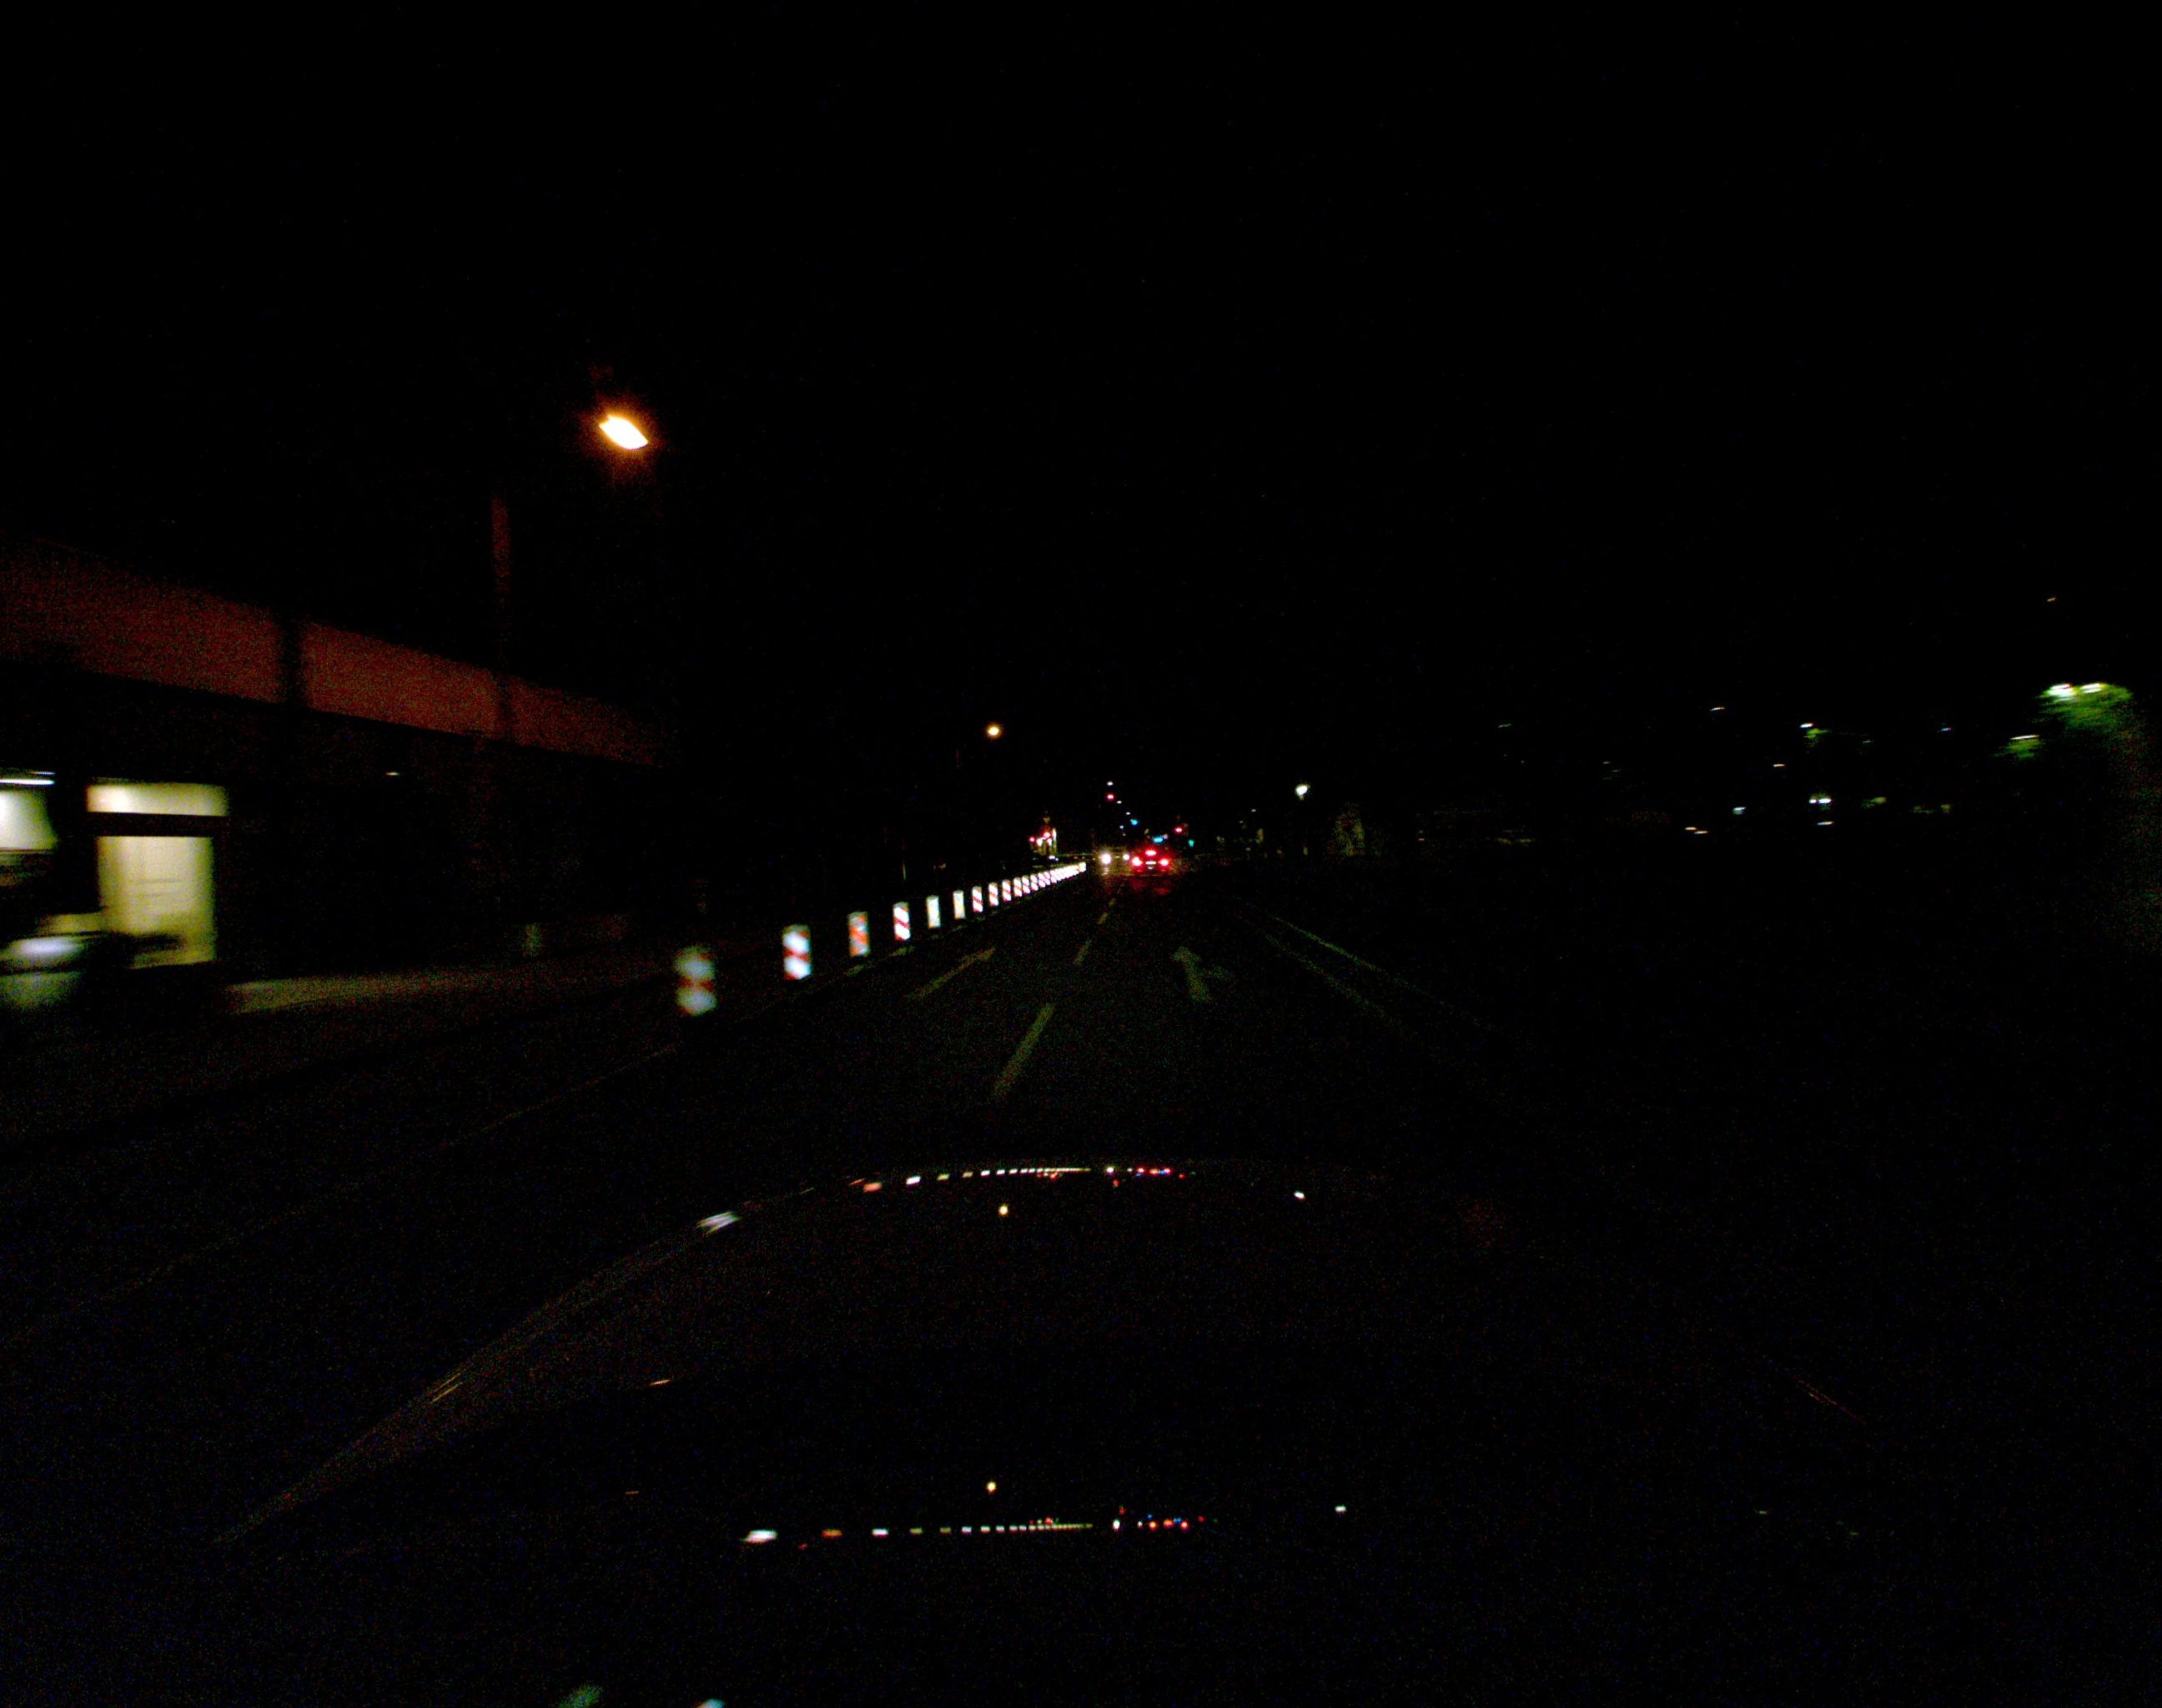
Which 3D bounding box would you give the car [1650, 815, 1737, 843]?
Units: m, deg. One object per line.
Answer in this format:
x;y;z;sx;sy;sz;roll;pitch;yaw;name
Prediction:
35.394;-1.428;47.211;1.985;1.428;4.245;-3;0;3;car

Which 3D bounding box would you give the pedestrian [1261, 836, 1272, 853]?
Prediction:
20.839;-1.060;91.519;0.897;1.769;0.908;-3;0;4;pedestrian

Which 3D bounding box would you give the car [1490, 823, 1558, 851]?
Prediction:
25.971;-0.971;47.882;1.776;1.533;3.999;-3;0;0;car

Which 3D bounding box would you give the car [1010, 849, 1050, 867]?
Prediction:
-5.243;0.386;83.060;3.980;1.640;1.997;-2;0;-5;car

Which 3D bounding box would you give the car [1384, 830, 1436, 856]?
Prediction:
19.751;-0.659;49.107;1.506;1.395;4.486;-3;0;4;car

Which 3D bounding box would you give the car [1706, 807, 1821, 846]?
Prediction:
29.704;-1.151;35.641;1.760;1.533;4.103;-3;0;4;car

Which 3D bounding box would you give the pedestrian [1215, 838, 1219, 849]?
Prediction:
25.243;-1.916;151.097;0.485;2.013;0.551;-3;0;3;pedestrian

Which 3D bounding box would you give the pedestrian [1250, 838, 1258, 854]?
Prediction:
19.452;-0.866;91.566;0.735;1.769;0.908;-3;0;4;pedestrian

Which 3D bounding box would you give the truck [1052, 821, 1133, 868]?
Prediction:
0.903;-0.782;74.725;2.771;3.717;10.020;-4;0;-28;truck

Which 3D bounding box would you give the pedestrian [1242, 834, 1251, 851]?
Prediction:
18.622;-1.285;91.603;0.711;1.769;0.908;-3;0;4;pedestrian

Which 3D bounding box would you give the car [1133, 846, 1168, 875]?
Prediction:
3.809;0.341;44.720;1.796;1.494;4.736;-1;0;5;car

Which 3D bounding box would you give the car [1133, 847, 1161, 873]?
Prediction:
4.078;0.332;50.745;1.630;1.494;4.005;-1;0;4;car

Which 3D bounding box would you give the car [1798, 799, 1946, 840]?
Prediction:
34.481;-1.449;35.747;1.881;1.512;4.896;-3;0;3;car
